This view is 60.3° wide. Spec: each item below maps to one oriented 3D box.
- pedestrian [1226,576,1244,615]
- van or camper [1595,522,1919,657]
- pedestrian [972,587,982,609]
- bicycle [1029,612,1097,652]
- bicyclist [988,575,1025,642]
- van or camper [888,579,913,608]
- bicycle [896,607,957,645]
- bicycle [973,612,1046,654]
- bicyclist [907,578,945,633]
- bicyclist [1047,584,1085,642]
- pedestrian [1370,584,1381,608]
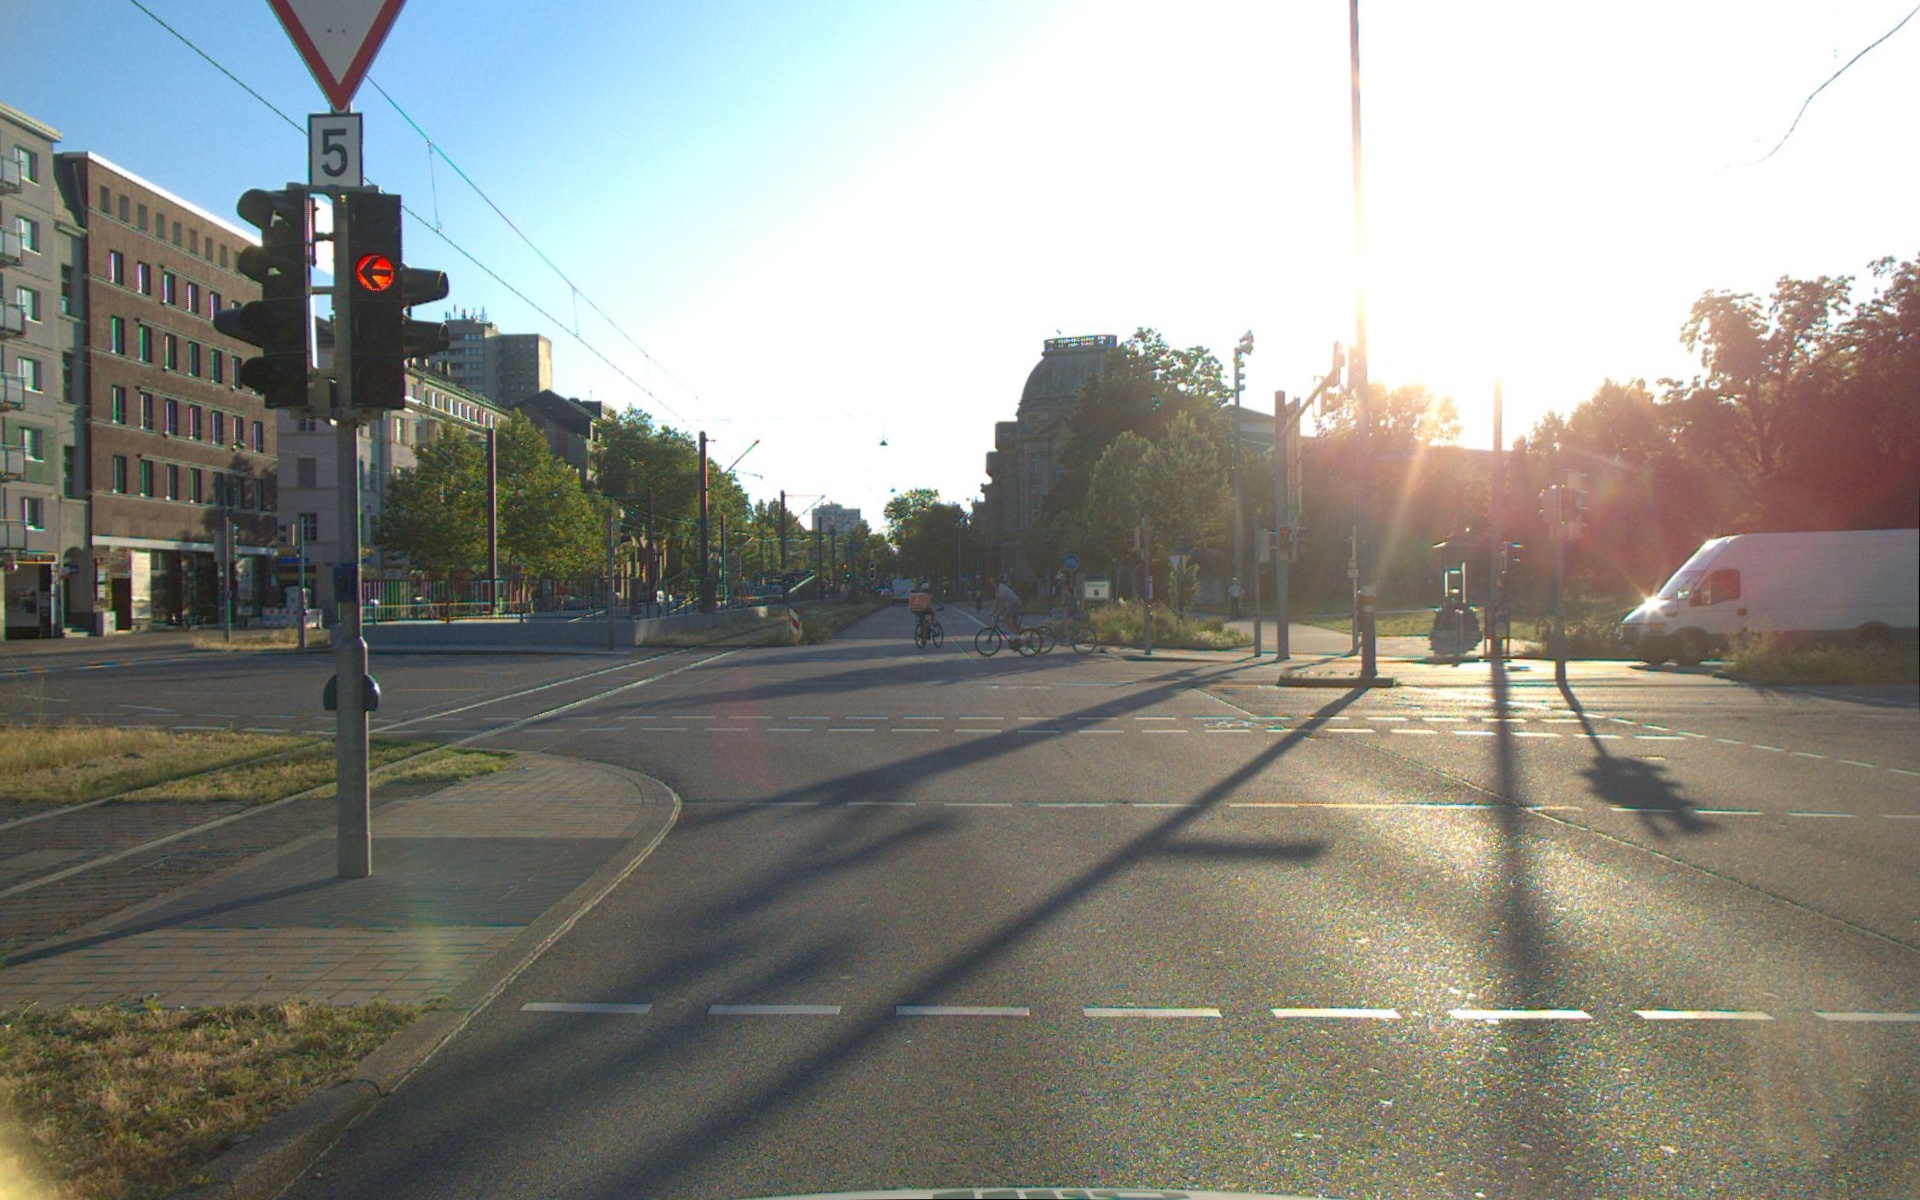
[{"bbox_3d":[11.855,-0.186,71.308,0.668,1.639,0.612,-1,1,-1],"label":"pedestrian"},{"bbox_3d":[17.767,-0.265,35.988,6.898,2.721,2.599,-1,2,1],"label":"van or camper"},{"bbox_3d":[1.184,-0.161,115.064,0.603,1.501,0.800,-1,1,3],"label":"pedestrian"},{"bbox_3d":[2.685,0.835,43.023,1.686,0.987,0.608,0,1,-10],"label":"bicycle"},{"bbox_3d":[1.129,0.205,40.565,0.783,1.598,0.662,-1,1,-9],"label":"bicyclist"},{"bbox_3d":[-5.816,-0.664,161.858,2.217,2.670,4.503,-1,2,-1],"label":"van or camper"},{"bbox_3d":[-0.915,0.708,45.711,0.691,0.987,1.724,3,2,40],"label":"bicycle"},{"bbox_3d":[1.214,0.814,40.608,1.696,0.987,0.608,0,1,-10],"label":"bicycle"},{"bbox_3d":[-0.941,0.143,45.613,0.651,1.467,0.852,2,3,40],"label":"bicyclist"},{"bbox_3d":[2.759,0.330,43.026,0.838,1.467,0.662,-1,1,-9],"label":"bicyclist"},{"bbox_3d":[30.165,-0.320,120.026,0.780,1.731,0.801,-1,0,14],"label":"pedestrian"}]
